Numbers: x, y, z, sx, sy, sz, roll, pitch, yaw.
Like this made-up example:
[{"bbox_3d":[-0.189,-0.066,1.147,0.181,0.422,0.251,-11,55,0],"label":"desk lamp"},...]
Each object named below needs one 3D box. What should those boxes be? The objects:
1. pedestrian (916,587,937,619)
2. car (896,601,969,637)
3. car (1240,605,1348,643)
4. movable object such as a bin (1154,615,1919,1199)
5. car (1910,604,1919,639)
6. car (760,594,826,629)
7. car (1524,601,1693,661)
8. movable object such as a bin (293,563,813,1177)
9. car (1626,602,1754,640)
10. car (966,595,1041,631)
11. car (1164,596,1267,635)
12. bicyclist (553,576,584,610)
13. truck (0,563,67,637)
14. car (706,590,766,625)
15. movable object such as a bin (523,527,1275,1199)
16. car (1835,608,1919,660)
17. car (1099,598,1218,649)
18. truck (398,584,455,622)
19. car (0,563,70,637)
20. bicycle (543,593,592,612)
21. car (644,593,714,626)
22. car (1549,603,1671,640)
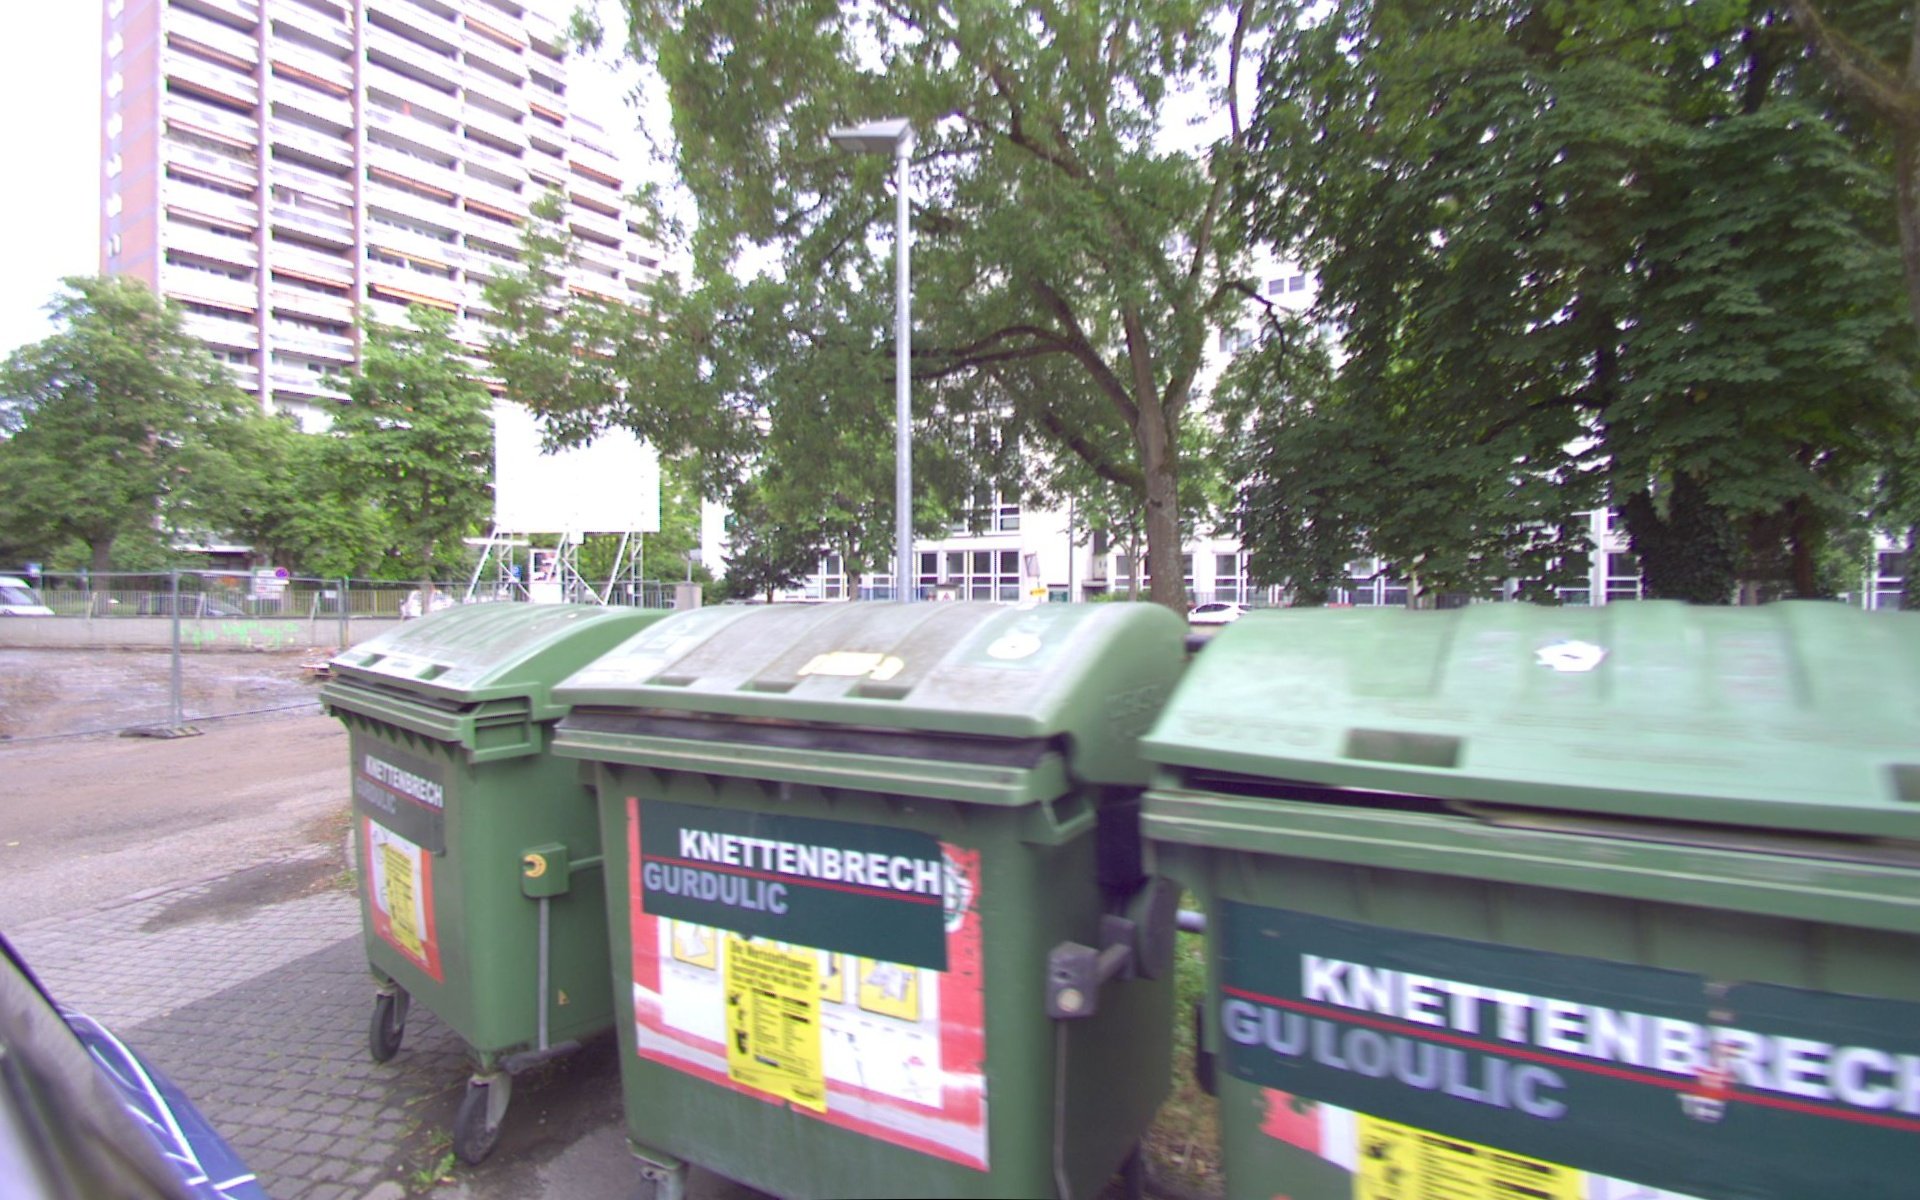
[{"bbox_3d":[-1.699,0.141,51.609,0.752,1.623,0.727,2,2,30],"label":"pedestrian"},{"bbox_3d":[-1.336,0.856,47.652,1.672,1.535,3.716,-1,2,-35],"label":"car"},{"bbox_3d":[14.654,1.024,44.596,1.672,1.464,4.357,-1,2,-36],"label":"car"},{"bbox_3d":[1.095,0.672,1.415,1.349,1.274,1.045,0,0,31],"label":"movable object such as a bin"},{"bbox_3d":[40.555,0.925,40.237,1.671,1.396,3.730,0,1,-15],"label":"car"},{"bbox_3d":[-7.992,0.498,48.154,1.672,1.535,3.716,-1,2,-35],"label":"car"},{"bbox_3d":[17.488,0.813,27.434,3.525,1.492,1.476,0,2,9],"label":"car"},{"bbox_3d":[-1.316,0.626,3.239,1.354,1.461,1.041,1,1,41],"label":"movable object such as a bin"},{"bbox_3d":[30.263,0.836,42.070,1.672,1.362,3.978,-1,2,-36],"label":"car"},{"bbox_3d":[1.957,0.548,46.875,1.670,1.495,4.042,-1,2,-28],"label":"car"},{"bbox_3d":[11.420,0.653,45.433,1.673,1.567,4.355,-1,2,-39],"label":"car"},{"bbox_3d":[-17.800,-0.321,46.036,1.015,1.512,0.844,0,0,7],"label":"bicyclist"},{"bbox_3d":[-36.339,-0.008,37.367,5.430,2.622,2.113,0,1,10],"label":"truck"},{"bbox_3d":[-10.833,0.334,48.735,1.547,1.535,3.661,-1,2,-35],"label":"car"},{"bbox_3d":[-0.101,0.619,2.278,1.349,1.467,1.045,0,1,31],"label":"movable object such as a bin"},{"bbox_3d":[25.262,0.880,26.553,3.140,1.312,1.511,0,0,7],"label":"car"},{"bbox_3d":[5.888,0.689,30.315,3.393,1.472,1.675,0,-1,9],"label":"car"},{"bbox_3d":[-27.475,0.114,51.996,1.967,1.862,5.077,-1,1,-35],"label":"truck"},{"bbox_3d":[-36.225,-0.008,37.348,5.430,2.622,2.113,0,1,10],"label":"car"},{"bbox_3d":[-17.861,0.121,46.017,2.112,0.875,0.470,0,0,7],"label":"bicycle"},{"bbox_3d":[-13.862,0.424,49.700,1.774,1.475,4.442,0,1,-38],"label":"car"},{"bbox_3d":[27.376,0.871,42.713,1.672,1.362,3.978,-1,2,-36],"label":"car"}]
